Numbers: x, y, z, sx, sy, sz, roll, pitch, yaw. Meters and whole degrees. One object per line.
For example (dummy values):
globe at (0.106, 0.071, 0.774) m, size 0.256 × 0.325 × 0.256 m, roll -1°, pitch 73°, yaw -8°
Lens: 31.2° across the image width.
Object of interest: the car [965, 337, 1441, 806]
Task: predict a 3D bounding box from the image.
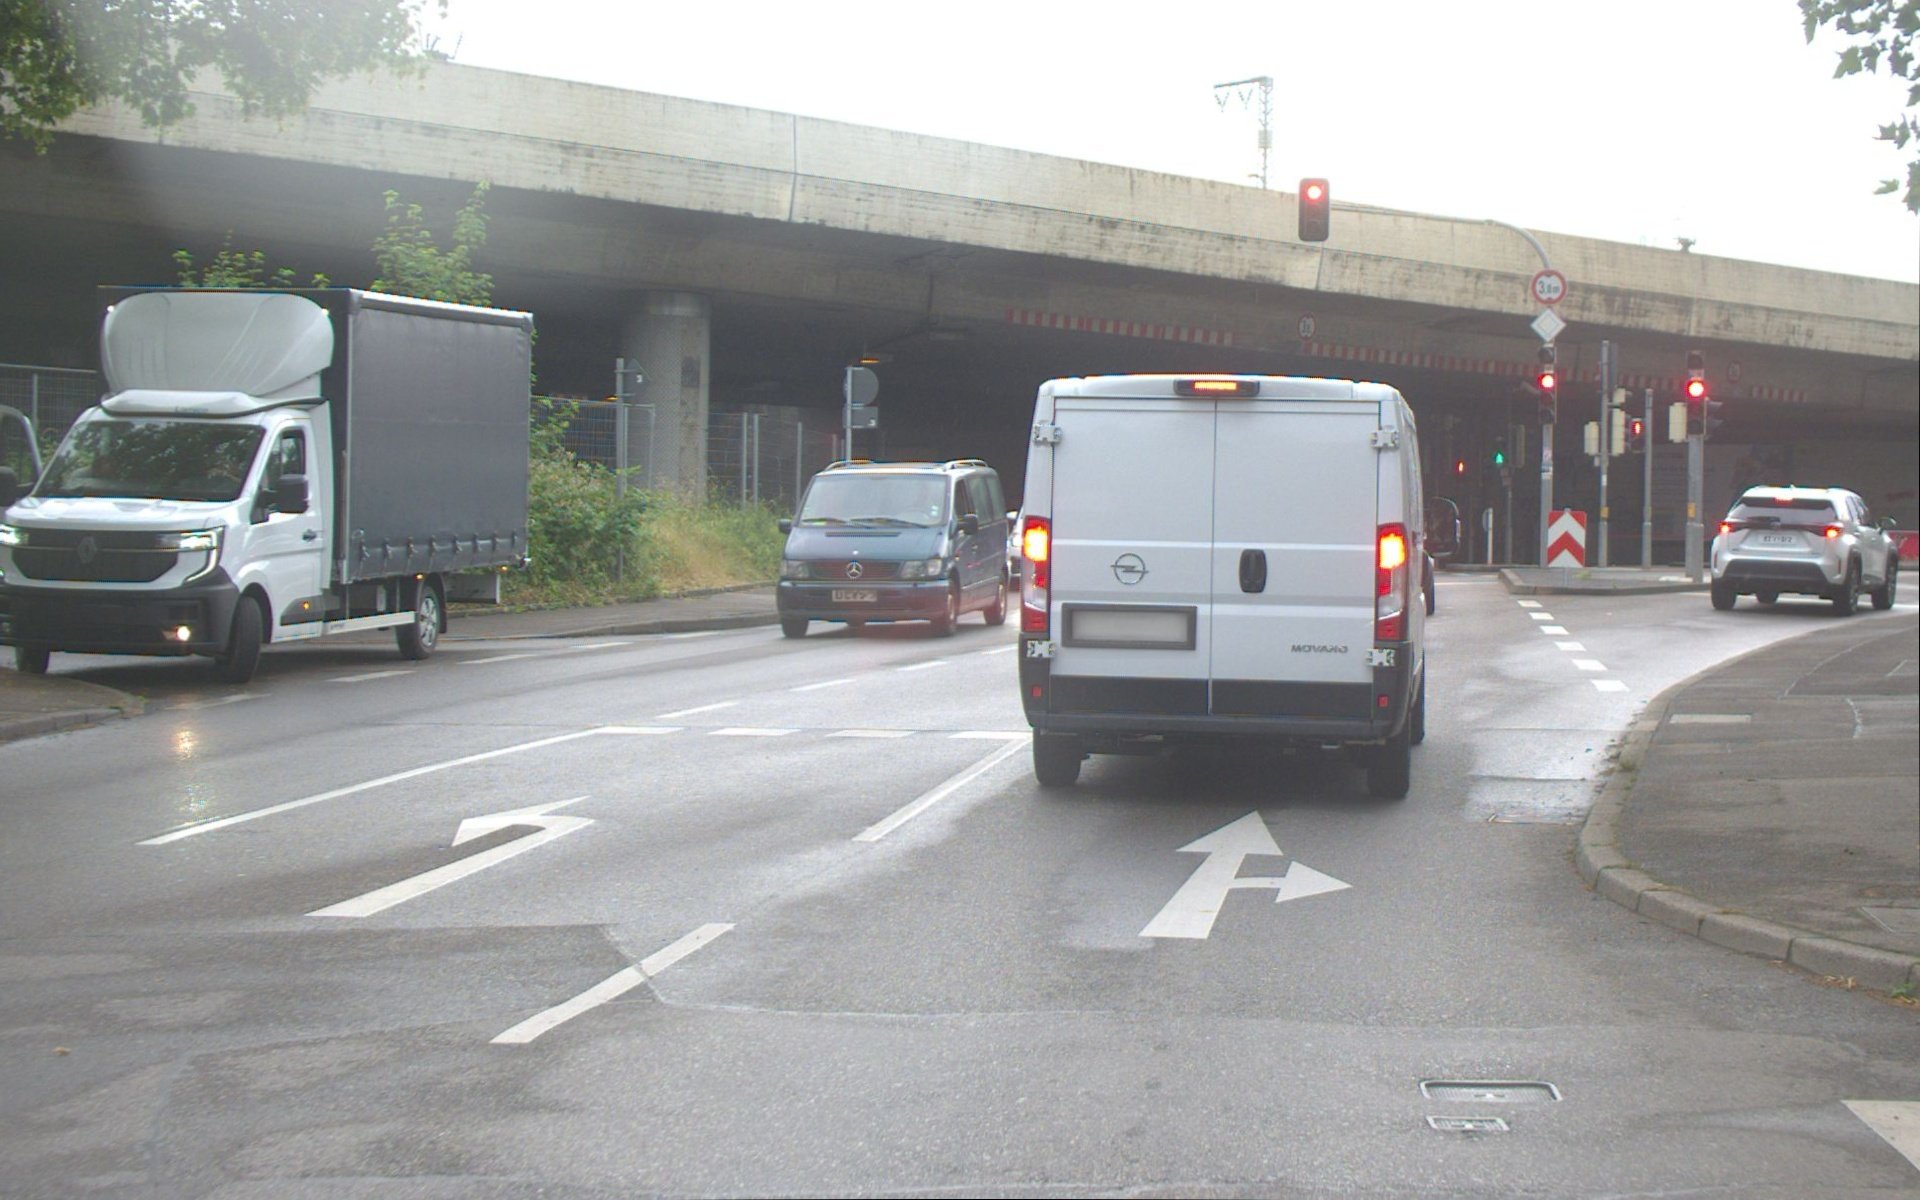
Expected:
car at (1.585, -0.273, 20.114) m, size 2.306 × 2.335 × 5.281 m, roll 1°, pitch 3°, yaw 9°

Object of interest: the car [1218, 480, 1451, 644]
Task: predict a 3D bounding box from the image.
car at (3.822, -0.399, 34.511) m, size 1.994 × 1.508 × 3.998 m, roll 1°, pitch 1°, yaw 11°

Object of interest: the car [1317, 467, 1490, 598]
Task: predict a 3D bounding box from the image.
car at (6.247, -0.942, 48.082) m, size 1.995 × 1.723 × 3.998 m, roll 1°, pitch 1°, yaw 13°

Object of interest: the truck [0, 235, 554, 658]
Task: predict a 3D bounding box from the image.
truck at (-6.074, -1.299, 30.321) m, size 2.611 × 3.225 × 7.773 m, roll 1°, pitch 2°, yaw 11°

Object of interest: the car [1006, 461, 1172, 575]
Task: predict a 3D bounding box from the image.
car at (2.006, -1.288, 52.329) m, size 1.832 × 1.573 × 4.332 m, roll 2°, pitch 3°, yaw 11°

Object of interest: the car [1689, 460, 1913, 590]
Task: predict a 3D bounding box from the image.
car at (10.759, -0.944, 43.810) m, size 1.996 × 1.544 × 3.995 m, roll 2°, pitch 1°, yaw 25°

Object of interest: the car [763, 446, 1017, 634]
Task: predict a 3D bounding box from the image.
car at (-0.696, -0.694, 38.056) m, size 1.958 × 1.924 × 4.682 m, roll 1°, pitch 2°, yaw 9°

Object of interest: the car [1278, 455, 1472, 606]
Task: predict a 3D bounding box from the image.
car at (5.128, -0.845, 42.089) m, size 1.994 × 1.723 × 3.998 m, roll 1°, pitch 1°, yaw 12°
